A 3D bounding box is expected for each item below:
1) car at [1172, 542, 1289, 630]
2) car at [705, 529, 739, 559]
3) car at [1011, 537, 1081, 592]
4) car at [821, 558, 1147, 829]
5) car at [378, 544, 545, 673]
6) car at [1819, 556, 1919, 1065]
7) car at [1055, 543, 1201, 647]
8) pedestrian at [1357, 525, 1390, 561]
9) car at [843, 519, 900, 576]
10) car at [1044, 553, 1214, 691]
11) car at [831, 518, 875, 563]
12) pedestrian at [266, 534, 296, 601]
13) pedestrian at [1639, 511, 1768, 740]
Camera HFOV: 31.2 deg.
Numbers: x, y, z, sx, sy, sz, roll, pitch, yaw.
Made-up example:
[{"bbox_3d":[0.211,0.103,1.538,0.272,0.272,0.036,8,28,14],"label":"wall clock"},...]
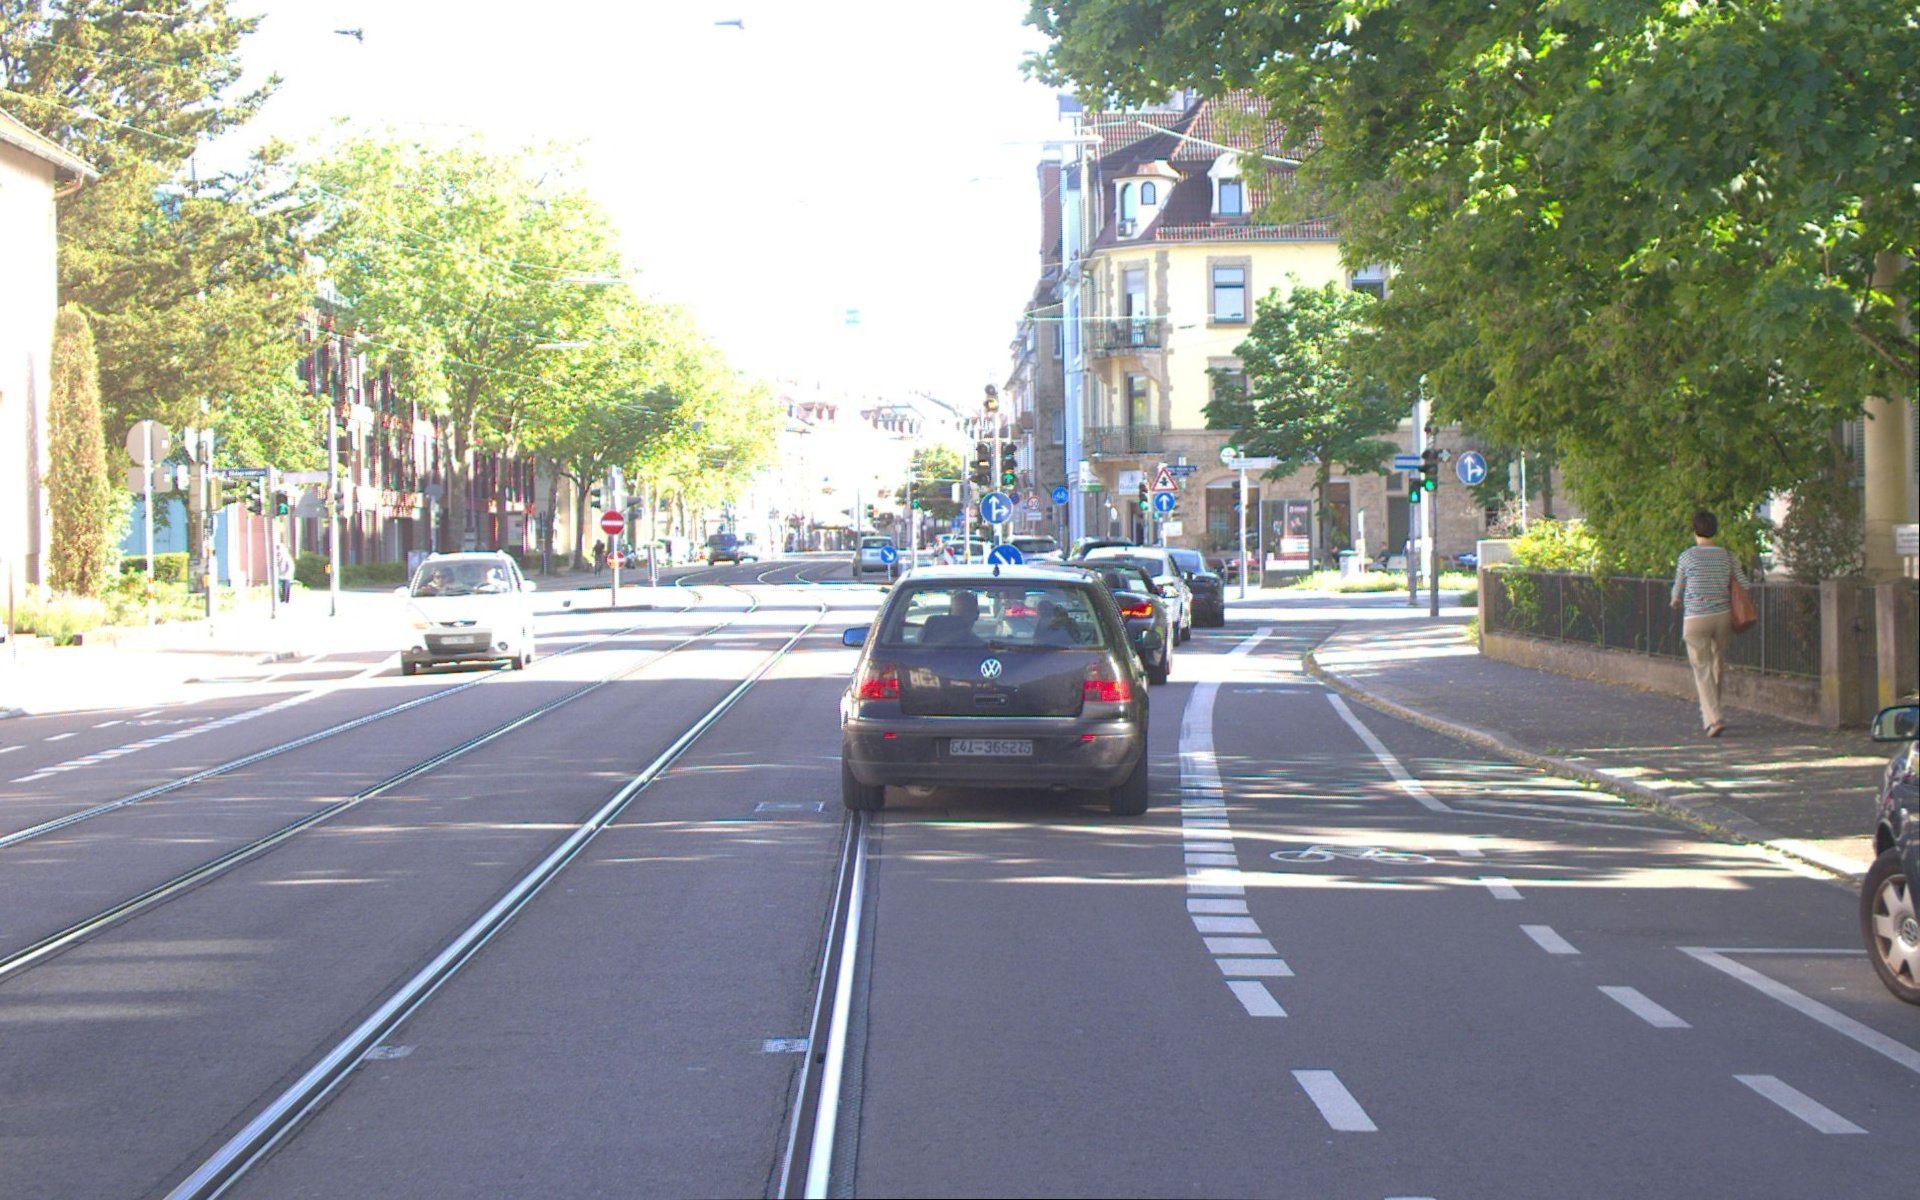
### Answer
[{"bbox_3d":[4.730,-0.270,60.467,1.569,1.306,3.648,-1,4,-3],"label":"car"},{"bbox_3d":[-14.769,-3.502,213.159,1.971,1.809,4.297,-1,1,-5],"label":"car"},{"bbox_3d":[2.349,-0.991,94.898,1.681,1.448,3.379,-1,1,-2],"label":"car"},{"bbox_3d":[0.205,0.472,20.311,1.716,1.398,4.006,1,1,2],"label":"car"},{"bbox_3d":[-6.157,0.076,42.774,1.575,1.472,3.441,-2,1,-1],"label":"car"},{"bbox_3d":[3.749,0.639,10.248,1.666,1.558,3.770,-1,1,4],"label":"car"},{"bbox_3d":[2.532,-0.106,51.075,1.740,1.436,3.808,-1,1,9],"label":"car"},{"bbox_3d":[13.657,-1.877,113.635,0.979,1.183,0.743,-1,1,-1],"label":"pedestrian"},{"bbox_3d":[-3.003,-1.783,115.583,1.787,1.853,4.001,2,1,-2],"label":"car"},{"bbox_3d":[1.783,0.200,37.240,1.634,1.367,3.757,-1,1,0],"label":"car"},{"bbox_3d":[-4.548,-2.544,145.710,1.787,1.853,4.001,-1,1,-2],"label":"car"},{"bbox_3d":[-17.248,-0.825,87.280,0.609,1.684,0.734,2,1,-19],"label":"pedestrian"},{"bbox_3d":[5.619,0.181,26.019,0.717,1.682,0.870,-2,1,-2],"label":"pedestrian"}]
